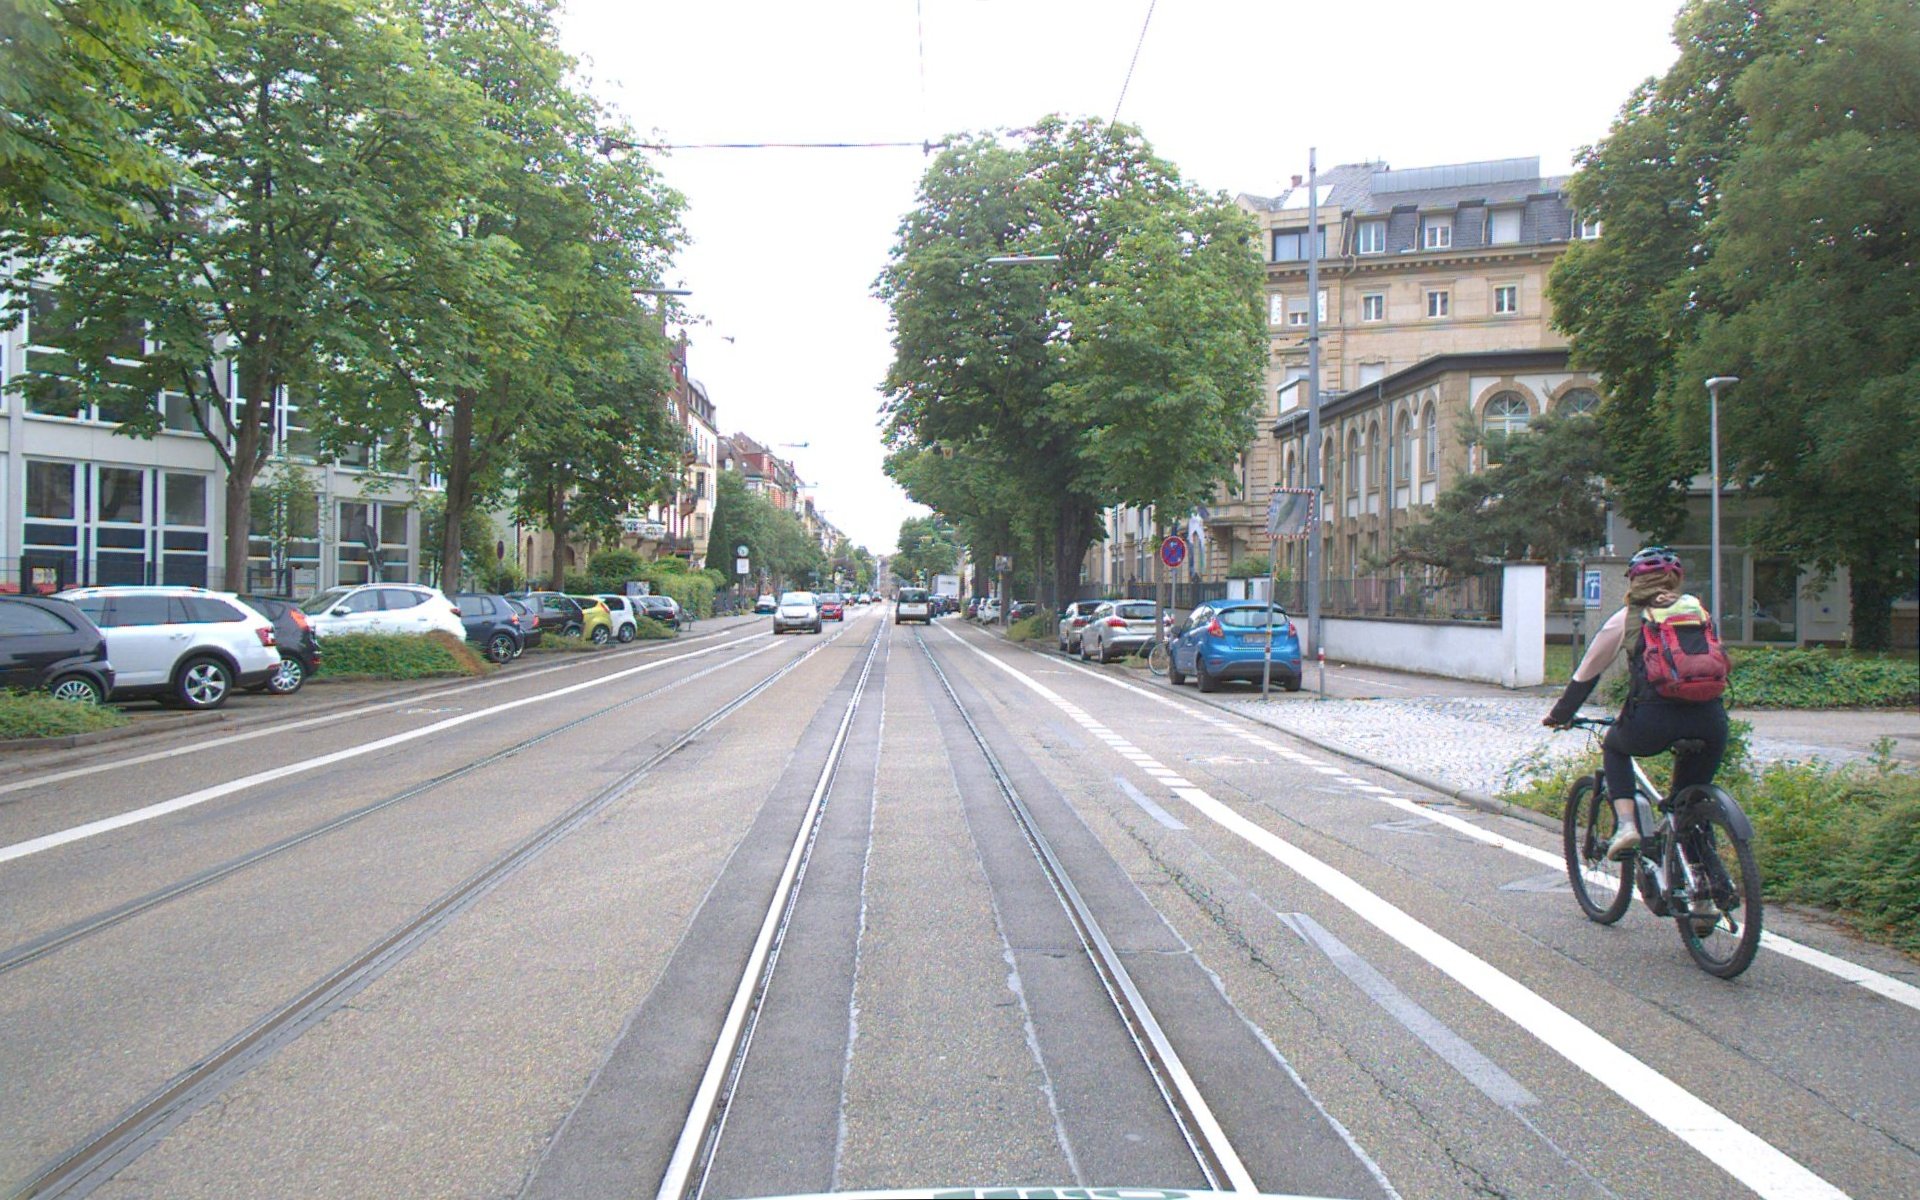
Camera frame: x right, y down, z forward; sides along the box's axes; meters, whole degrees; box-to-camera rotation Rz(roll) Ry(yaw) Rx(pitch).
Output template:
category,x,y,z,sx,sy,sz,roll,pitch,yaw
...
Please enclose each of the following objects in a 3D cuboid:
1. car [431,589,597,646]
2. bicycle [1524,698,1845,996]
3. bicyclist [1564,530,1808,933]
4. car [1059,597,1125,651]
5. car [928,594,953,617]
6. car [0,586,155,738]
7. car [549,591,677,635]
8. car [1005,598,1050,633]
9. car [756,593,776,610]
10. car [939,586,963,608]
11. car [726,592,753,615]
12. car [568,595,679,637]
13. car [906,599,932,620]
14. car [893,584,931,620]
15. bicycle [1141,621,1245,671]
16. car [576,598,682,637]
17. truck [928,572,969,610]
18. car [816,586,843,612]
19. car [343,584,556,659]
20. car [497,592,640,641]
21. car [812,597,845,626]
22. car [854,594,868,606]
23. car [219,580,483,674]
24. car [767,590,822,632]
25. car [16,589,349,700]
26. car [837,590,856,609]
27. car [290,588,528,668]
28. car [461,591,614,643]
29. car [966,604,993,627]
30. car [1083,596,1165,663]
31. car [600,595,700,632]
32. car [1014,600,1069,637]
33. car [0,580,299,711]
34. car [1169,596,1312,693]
category,x,y,z,sx,sy,sz,roll,pitch,yaw
car,-11.669,0.470,43.436,1.670,1.375,3.944,2,0,42
bicycle,3.126,1.008,7.360,0.479,0.996,2.057,1,0,-1
bicyclist,3.129,0.536,7.202,0.644,1.638,0.919,0,0,-1
car,3.709,0.665,46.885,1.446,1.454,3.563,0,0,-3
car,-1.564,0.411,131.649,1.953,1.825,3.999,0,0,-1
car,-10.669,0.619,17.312,1.671,1.550,3.681,2,0,43
car,-11.488,0.430,54.963,1.670,1.375,3.944,2,0,42
car,2.810,0.620,69.532,1.754,1.423,3.795,0,0,0
car,-16.103,0.132,137.262,1.609,1.378,3.872,0,0,-6
car,-0.877,-0.251,156.405,1.954,2.049,3.997,0,0,-4
car,-21.565,0.314,162.072,2.133,2.246,4.217,0,0,-1
car,-12.315,0.583,60.489,3.663,1.410,1.685,2,0,-27
car,-2.853,0.642,116.248,1.734,1.423,3.795,0,0,0
car,-2.447,0.116,84.432,1.774,1.738,3.698,1,0,0
bicycle,4.579,0.898,32.545,1.973,0.973,0.533,0,0,-6
car,-12.684,0.673,63.332,3.663,1.410,1.685,2,0,-27
truck,-1.359,-1.035,185.296,3.734,4.100,10.206,0,0,-5
car,-12.426,-0.101,157.355,2.159,2.460,4.001,0,0,1
car,-11.343,0.483,36.973,1.670,1.562,4.320,2,0,42
car,-11.753,0.510,49.776,1.670,1.375,3.944,2,0,42
car,-7.194,0.619,90.788,1.643,1.549,2.780,1,0,-2
car,-14.797,-0.004,247.176,1.736,1.672,3.567,0,0,1
car,-11.115,0.493,30.439,1.668,1.583,4.326,2,0,38
car,-6.375,0.409,64.102,1.862,1.557,3.752,-1,0,-3
car,-10.978,0.616,23.496,3.991,1.430,1.675,2,0,-41
car,-13.838,-0.052,201.640,2.161,2.295,3.998,0,0,-2
car,-11.122,0.566,33.593,1.670,1.479,4.320,2,0,42
car,-11.879,0.487,46.673,1.670,1.375,3.944,2,0,42
car,1.280,1.020,108.465,1.734,1.423,3.795,0,0,0
car,3.897,0.671,39.780,1.446,1.507,3.563,1,0,-3
car,-12.509,0.542,66.784,3.663,1.410,1.685,2,0,-27
car,2.976,0.654,60.861,1.835,1.273,4.000,0,0,0
car,-10.610,0.544,20.727,3.991,1.510,1.675,2,0,-41
car,4.635,0.692,27.752,1.640,1.486,3.431,1,0,-3
